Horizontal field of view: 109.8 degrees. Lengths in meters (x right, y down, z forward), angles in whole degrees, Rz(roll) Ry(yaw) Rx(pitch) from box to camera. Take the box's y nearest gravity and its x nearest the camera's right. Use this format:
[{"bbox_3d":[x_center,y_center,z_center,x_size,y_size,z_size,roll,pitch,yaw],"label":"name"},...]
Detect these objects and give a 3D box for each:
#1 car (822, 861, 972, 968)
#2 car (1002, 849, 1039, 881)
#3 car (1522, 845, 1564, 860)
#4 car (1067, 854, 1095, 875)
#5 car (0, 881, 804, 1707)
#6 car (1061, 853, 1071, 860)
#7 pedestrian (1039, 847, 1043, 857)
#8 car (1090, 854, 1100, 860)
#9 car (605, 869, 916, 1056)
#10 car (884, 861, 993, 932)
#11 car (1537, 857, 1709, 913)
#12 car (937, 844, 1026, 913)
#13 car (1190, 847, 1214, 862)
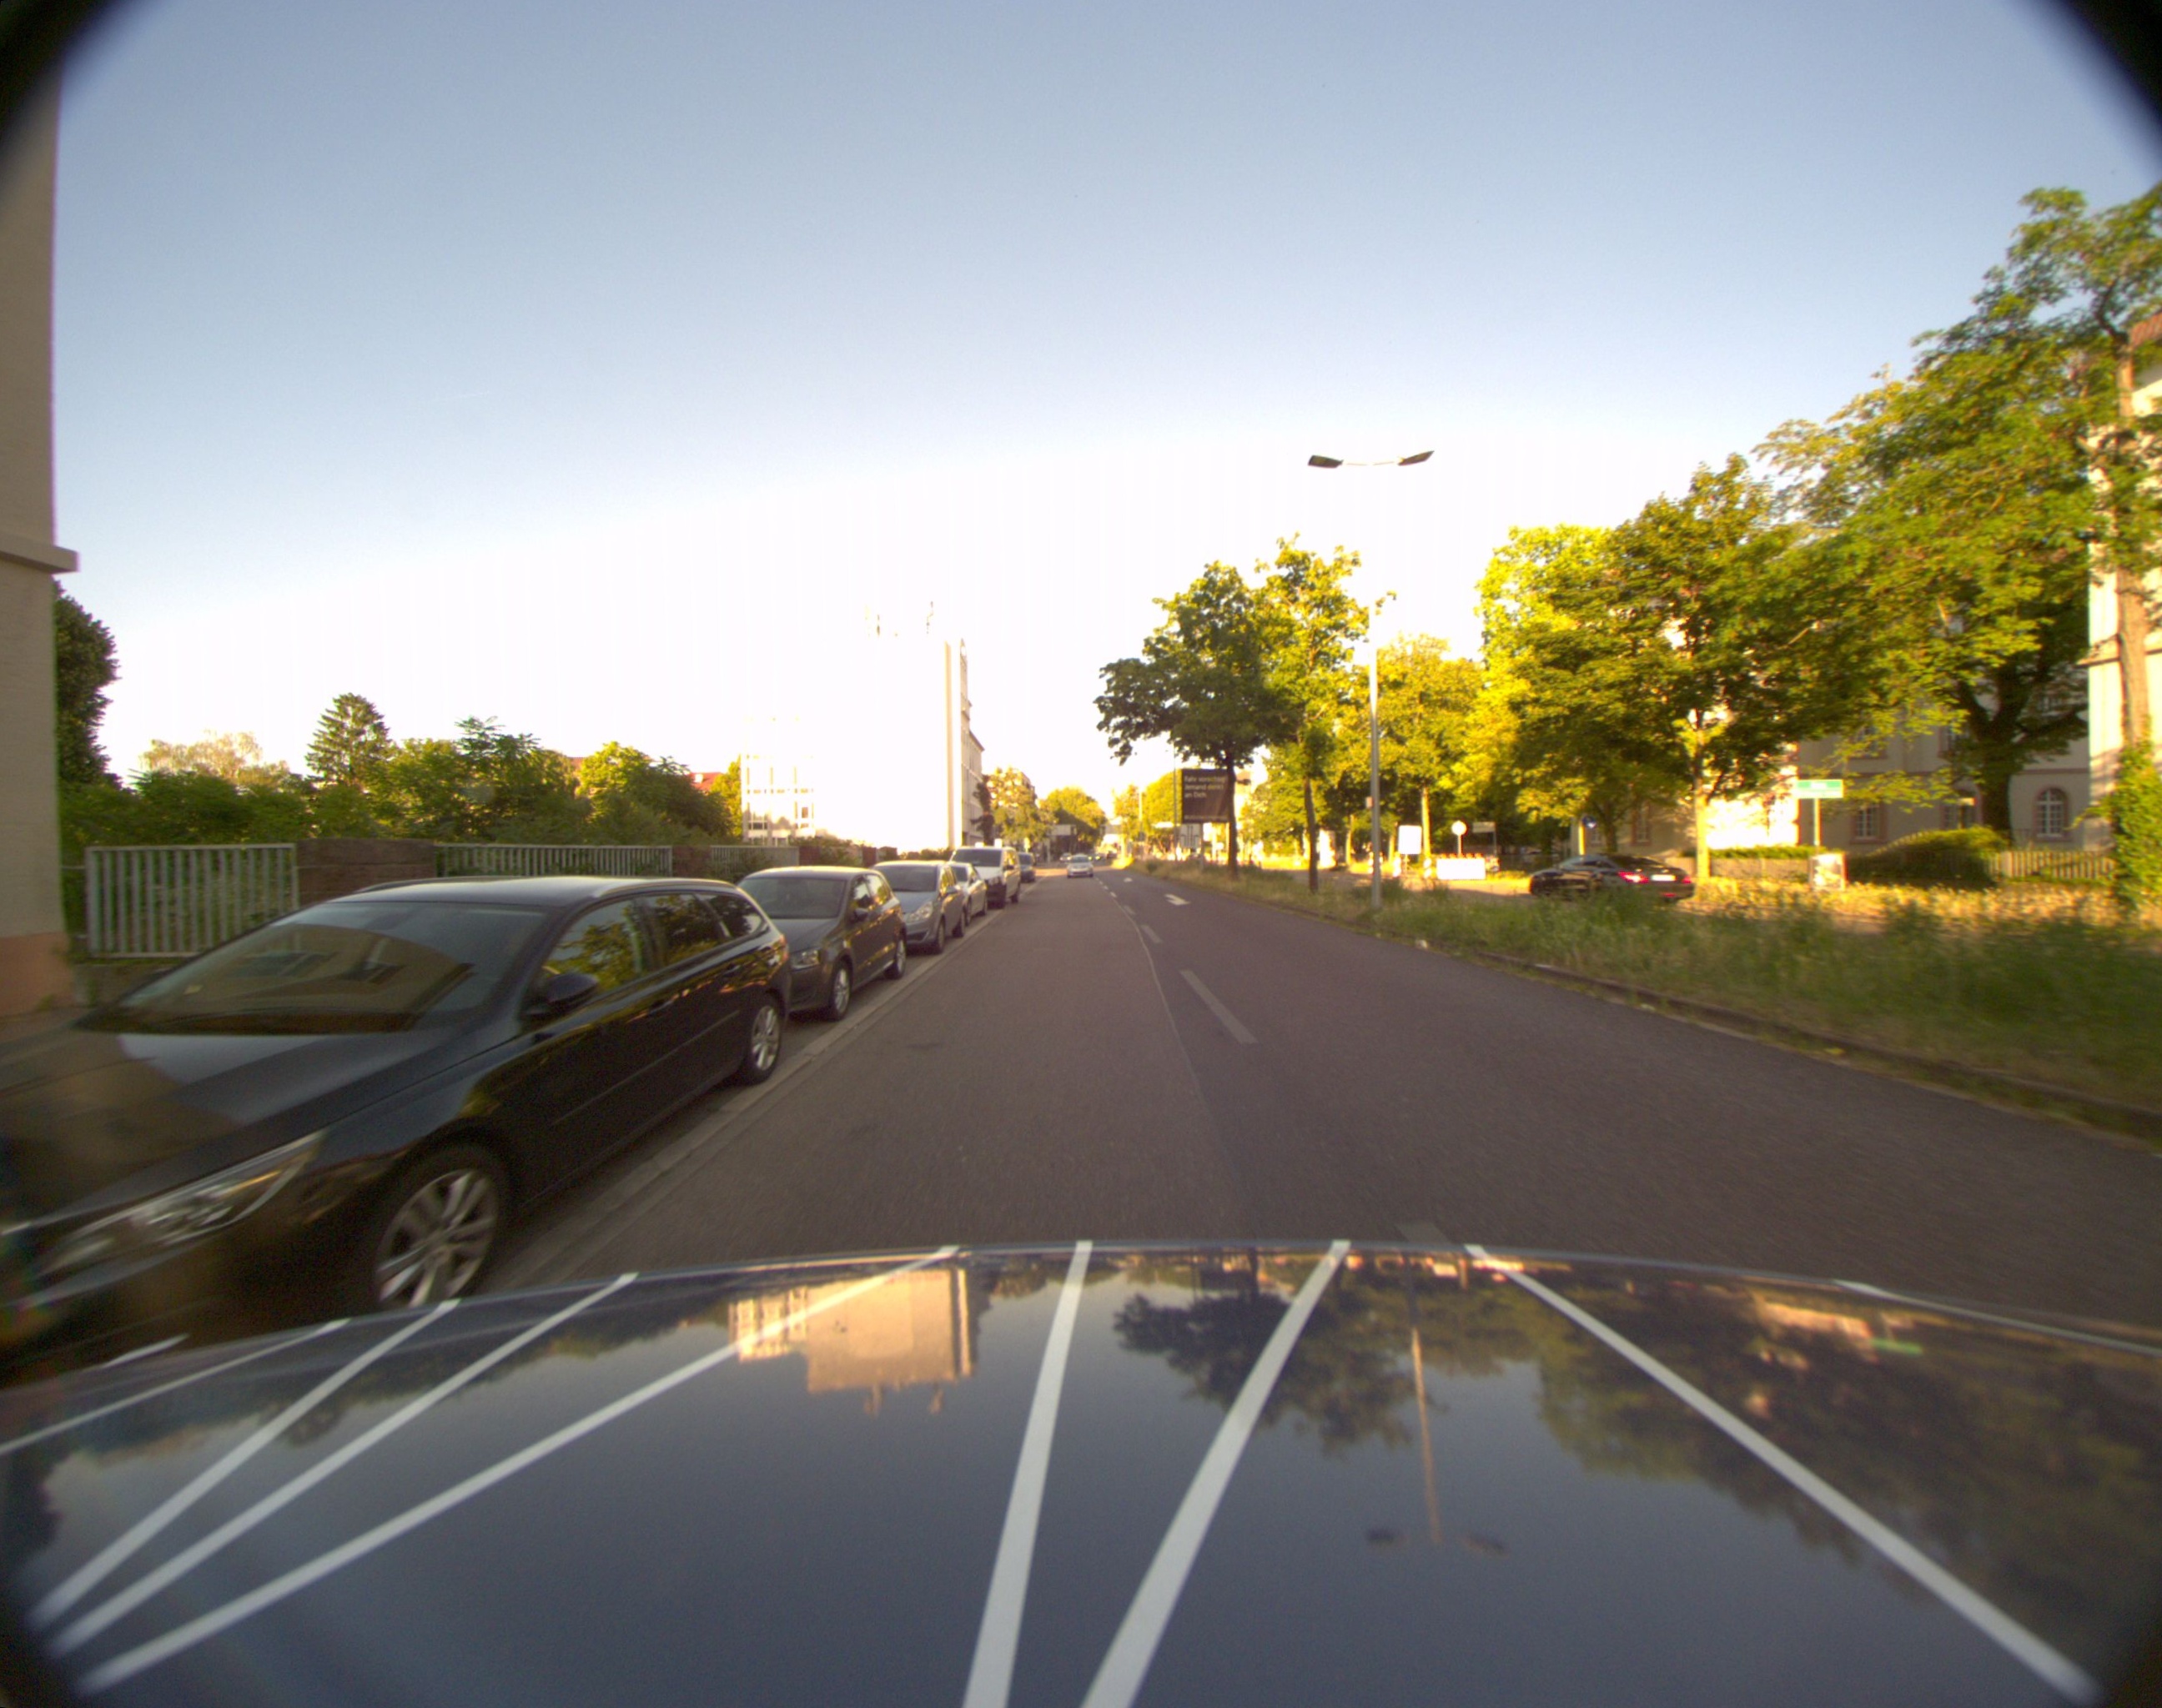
[{"bbox_3d":[-3.030,0.927,13.298,1.705,1.479,3.892,2,1,-1],"label":"car"},{"bbox_3d":[-3.603,0.598,46.242,1.778,1.818,4.555,1,1,1],"label":"car"},{"bbox_3d":[45.367,-0.159,74.677,1.698,1.368,4.000,-3,0,0],"label":"car"},{"bbox_3d":[0.001,0.701,52.773,1.895,1.455,3.965,0,0,0],"label":"car"},{"bbox_3d":[-3.104,0.979,3.634,1.892,1.439,4.463,2,1,0],"label":"car"},{"bbox_3d":[-3.016,0.487,153.409,1.948,1.514,4.163,0,0,-1],"label":"car"},{"bbox_3d":[-6.922,-0.340,131.602,0.721,1.835,0.748,0,1,-3],"label":"pedestrian"},{"bbox_3d":[2.783,0.624,152.262,1.948,1.259,4.163,0,0,-1],"label":"car"},{"bbox_3d":[-3.133,0.954,8.345,1.751,1.418,3.839,2,1,0],"label":"car"},{"bbox_3d":[-3.315,0.938,18.558,1.732,1.377,4.642,2,1,0],"label":"car"},{"bbox_3d":[14.400,0.763,20.512,1.778,1.266,4.007,2,1,1],"label":"car"},{"bbox_3d":[-3.021,0.678,24.233,1.892,1.907,5.179,2,1,2],"label":"car"},{"bbox_3d":[12.246,0.043,77.044,1.778,1.409,4.007,2,1,1],"label":"car"}]
